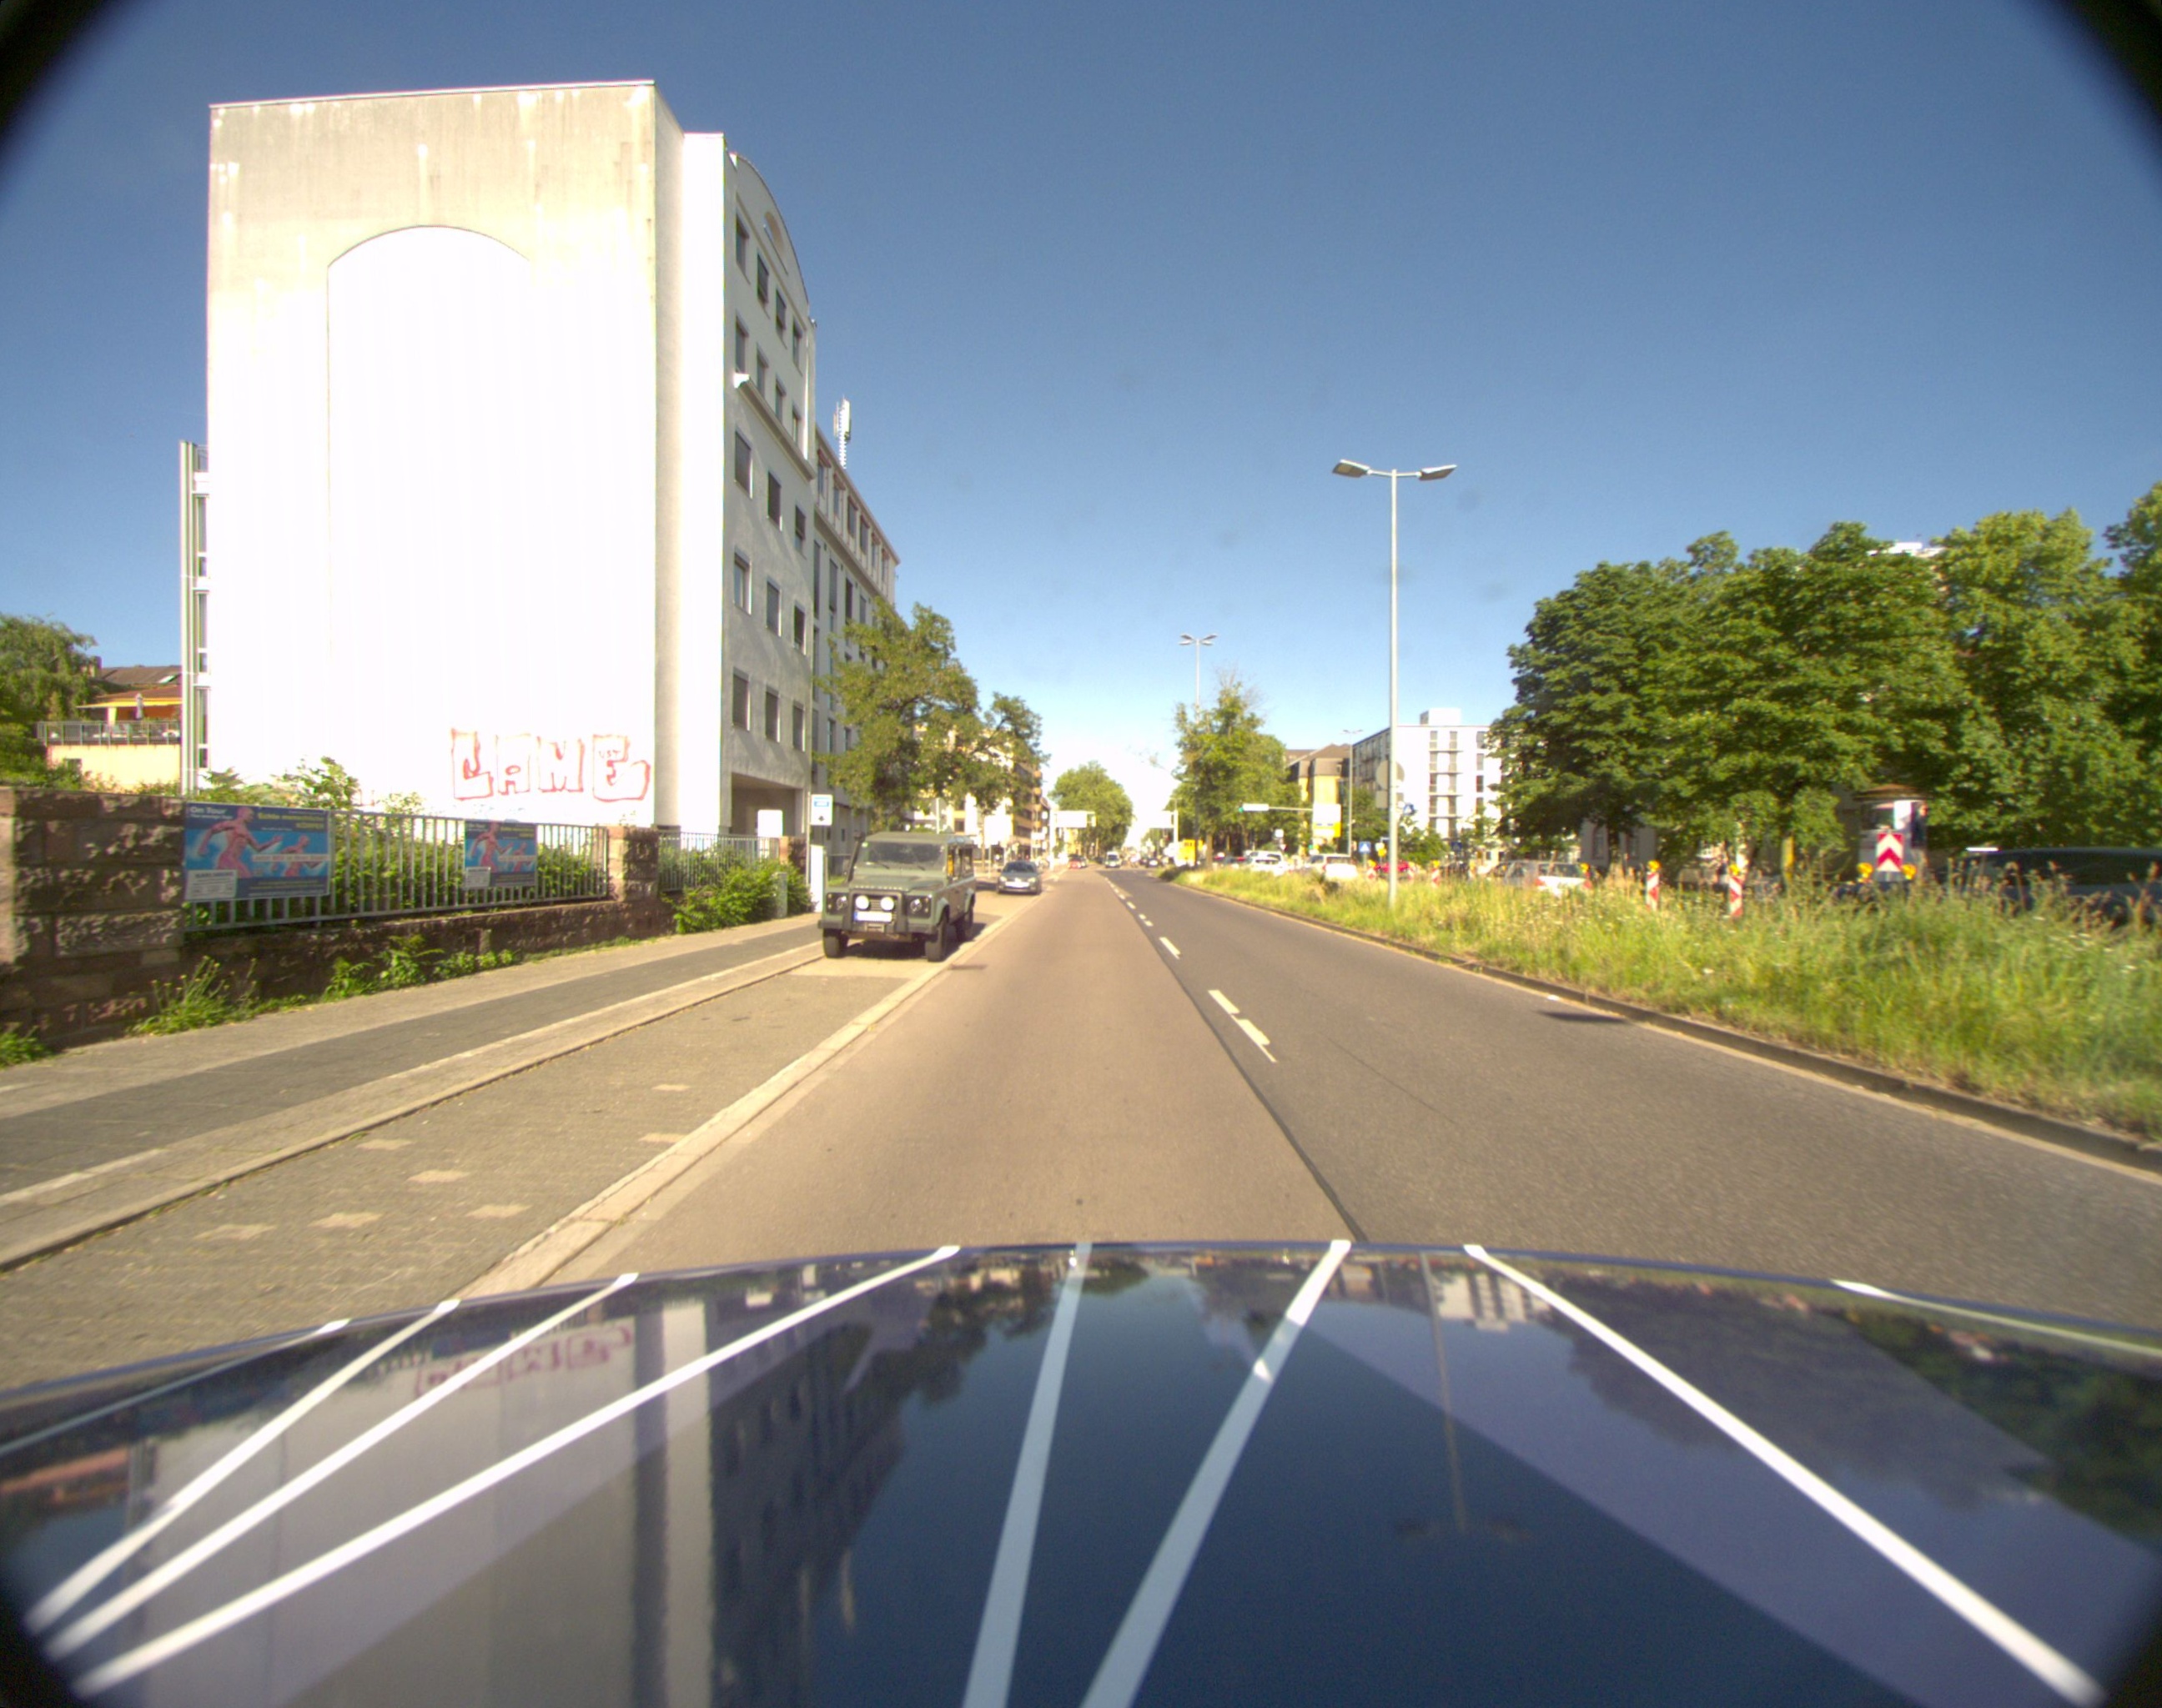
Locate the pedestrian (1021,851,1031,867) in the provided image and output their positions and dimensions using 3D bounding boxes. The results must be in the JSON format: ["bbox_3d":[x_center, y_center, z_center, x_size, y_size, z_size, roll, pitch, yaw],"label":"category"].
[{"bbox_3d":[-5.670,0.477,78.207,0.897,1.614,0.721,0,4,11],"label":"pedestrian"}]

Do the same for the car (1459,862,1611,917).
[{"bbox_3d":[12.819,0.950,21.798,1.800,1.344,4.258,0,0,0],"label":"car"}]

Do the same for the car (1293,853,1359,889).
[{"bbox_3d":[12.651,0.815,39.499,1.800,1.733,5.031,0,0,0],"label":"car"}]

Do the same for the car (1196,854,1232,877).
[{"bbox_3d":[9.479,0.803,54.269,1.800,1.510,4.346,-1,1,0],"label":"car"}]

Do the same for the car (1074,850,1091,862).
[{"bbox_3d":[0.244,0.260,109.913,1.882,1.511,4.000,0,3,8],"label":"car"}]

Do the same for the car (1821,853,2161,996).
[{"bbox_3d":[12.478,0.752,9.651,1.800,1.510,4.444,0,0,0],"label":"car"}]

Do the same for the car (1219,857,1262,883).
[{"bbox_3d":[9.906,0.968,47.522,1.800,1.510,4.363,-1,0,0],"label":"car"}]

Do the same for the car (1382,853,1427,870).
[{"bbox_3d":[33.646,0.761,79.118,3.994,1.609,1.919,0,3,10],"label":"car"}]

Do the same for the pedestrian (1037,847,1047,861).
[{"bbox_3d":[-4.407,-0.012,85.737,0.788,1.599,0.927,-3,4,-33],"label":"pedestrian"}]

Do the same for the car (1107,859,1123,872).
[{"bbox_3d":[4.626,1.571,103.411,1.882,1.511,4.000,0,3,8],"label":"car"}]

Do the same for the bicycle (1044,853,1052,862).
[{"bbox_3d":[-4.120,0.392,93.792,0.867,0.985,1.900,-1,3,-6],"label":"bicycle"}]

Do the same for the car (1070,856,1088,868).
[{"bbox_3d":[-0.249,1.013,101.344,1.882,1.510,4.002,0,1,8],"label":"car"}]

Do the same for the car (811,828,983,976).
[{"bbox_3d":[-2.858,0.644,12.906,1.664,2.002,4.776,1,1,1],"label":"car"}]

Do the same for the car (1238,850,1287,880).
[{"bbox_3d":[12.534,0.698,52.880,2.239,2.016,5.017,0,0,0],"label":"car"}]

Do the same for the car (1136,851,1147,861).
[{"bbox_3d":[10.485,0.344,131.609,1.861,1.576,4.278,0,0,2],"label":"car"}]

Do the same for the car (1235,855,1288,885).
[{"bbox_3d":[9.488,0.808,40.275,1.800,1.510,4.205,0,0,0],"label":"car"}]

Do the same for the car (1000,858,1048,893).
[{"bbox_3d":[-2.472,0.957,33.826,1.642,1.439,4.157,1,-1,2],"label":"car"}]

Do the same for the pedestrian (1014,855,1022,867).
[{"bbox_3d":[-6.487,0.693,78.443,0.647,1.196,0.526,0,4,11],"label":"pedestrian"}]

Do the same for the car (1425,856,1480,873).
[{"bbox_3d":[38.586,1.105,78.997,4.704,1.609,1.919,0,3,10],"label":"car"}]

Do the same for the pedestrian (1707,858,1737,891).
[{"bbox_3d":[30.141,0.960,35.751,0.742,1.526,0.781,0,0,-5],"label":"pedestrian"}]
